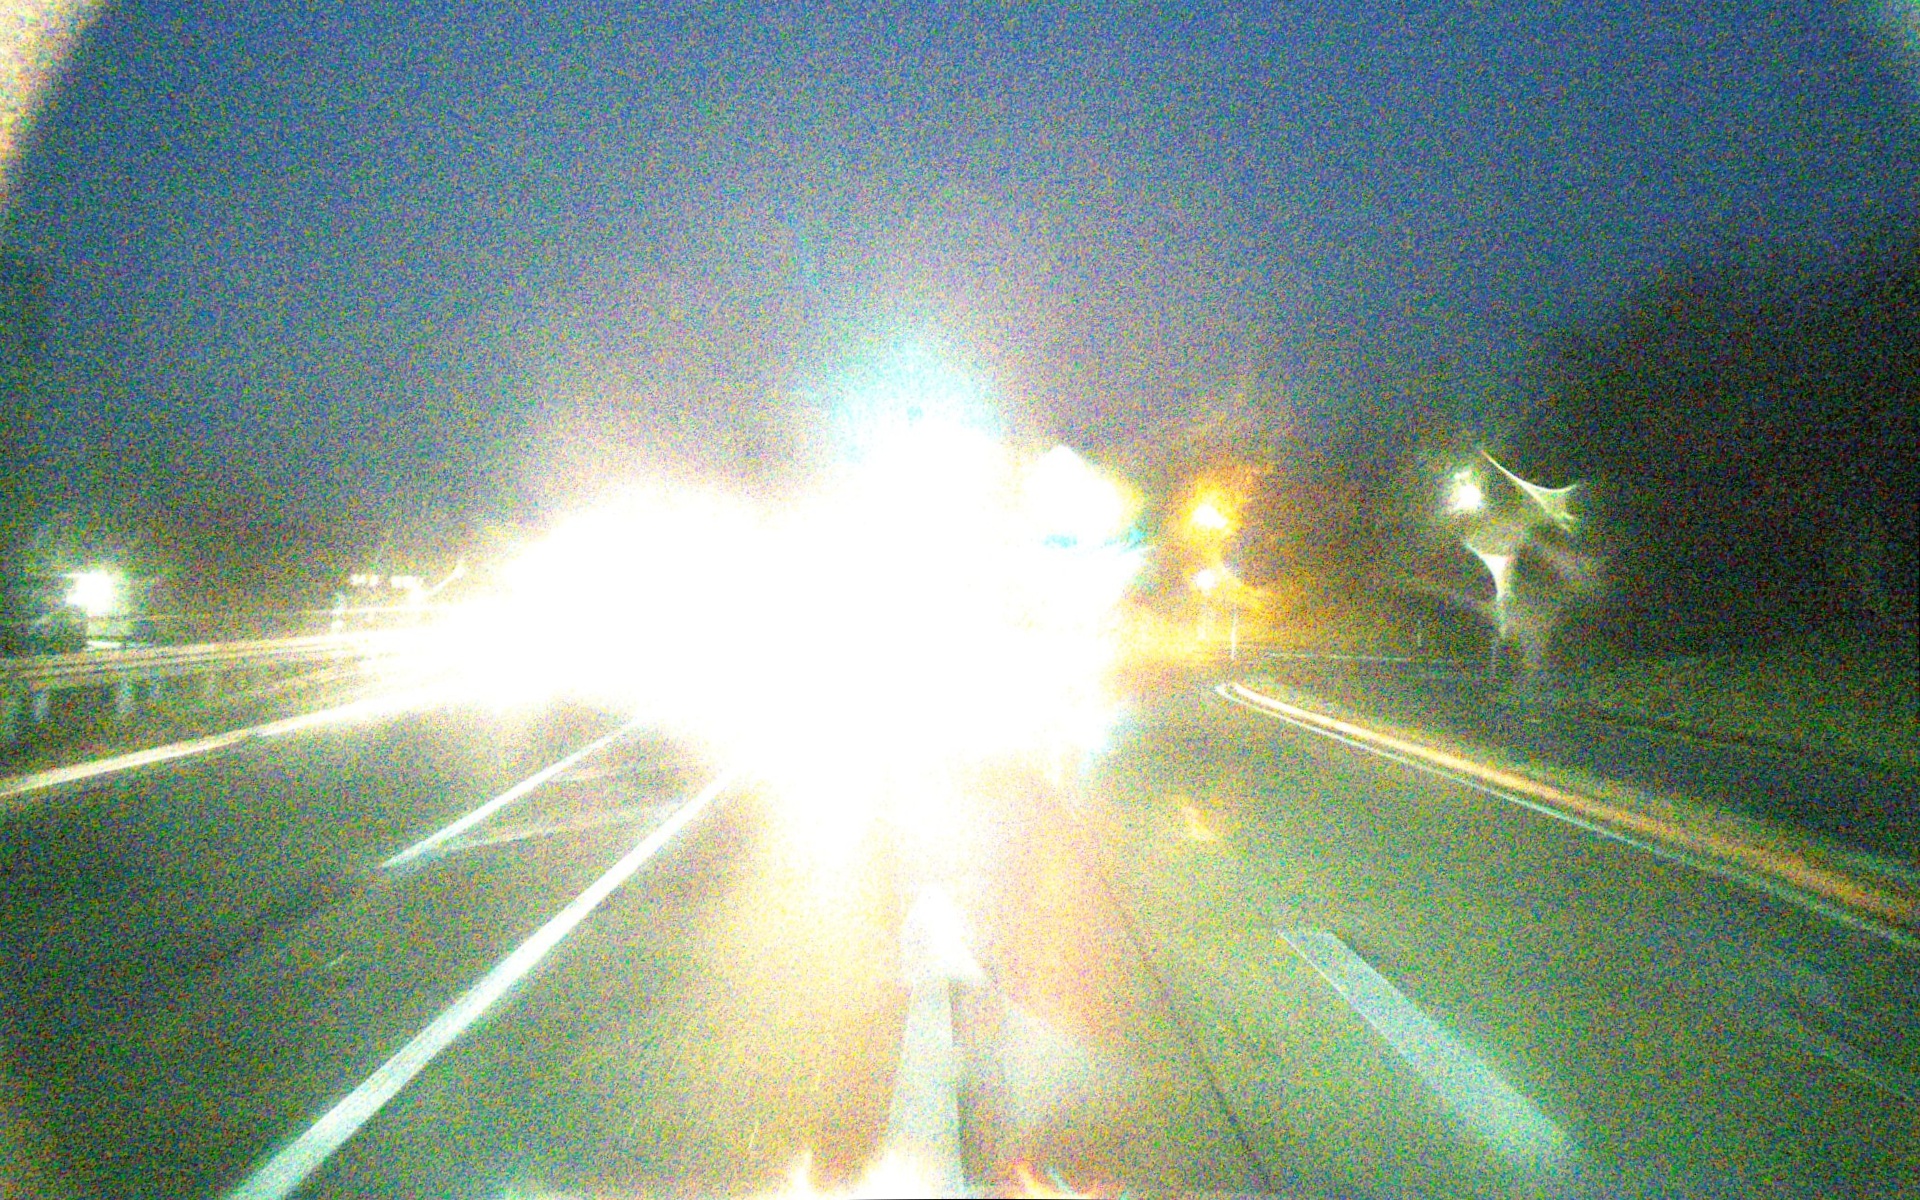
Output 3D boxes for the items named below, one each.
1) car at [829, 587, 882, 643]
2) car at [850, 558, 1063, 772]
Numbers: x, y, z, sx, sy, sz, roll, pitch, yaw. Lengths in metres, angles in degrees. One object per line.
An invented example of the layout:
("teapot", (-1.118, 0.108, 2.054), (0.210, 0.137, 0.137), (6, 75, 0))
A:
("car", (-4.125, 0.625, 64.918), (1.955, 2.049, 3.995), (0, -2, -5))
("car", (-0.103, 0.546, 15.633), (1.739, 1.742, 3.998), (1, 0, -2))
